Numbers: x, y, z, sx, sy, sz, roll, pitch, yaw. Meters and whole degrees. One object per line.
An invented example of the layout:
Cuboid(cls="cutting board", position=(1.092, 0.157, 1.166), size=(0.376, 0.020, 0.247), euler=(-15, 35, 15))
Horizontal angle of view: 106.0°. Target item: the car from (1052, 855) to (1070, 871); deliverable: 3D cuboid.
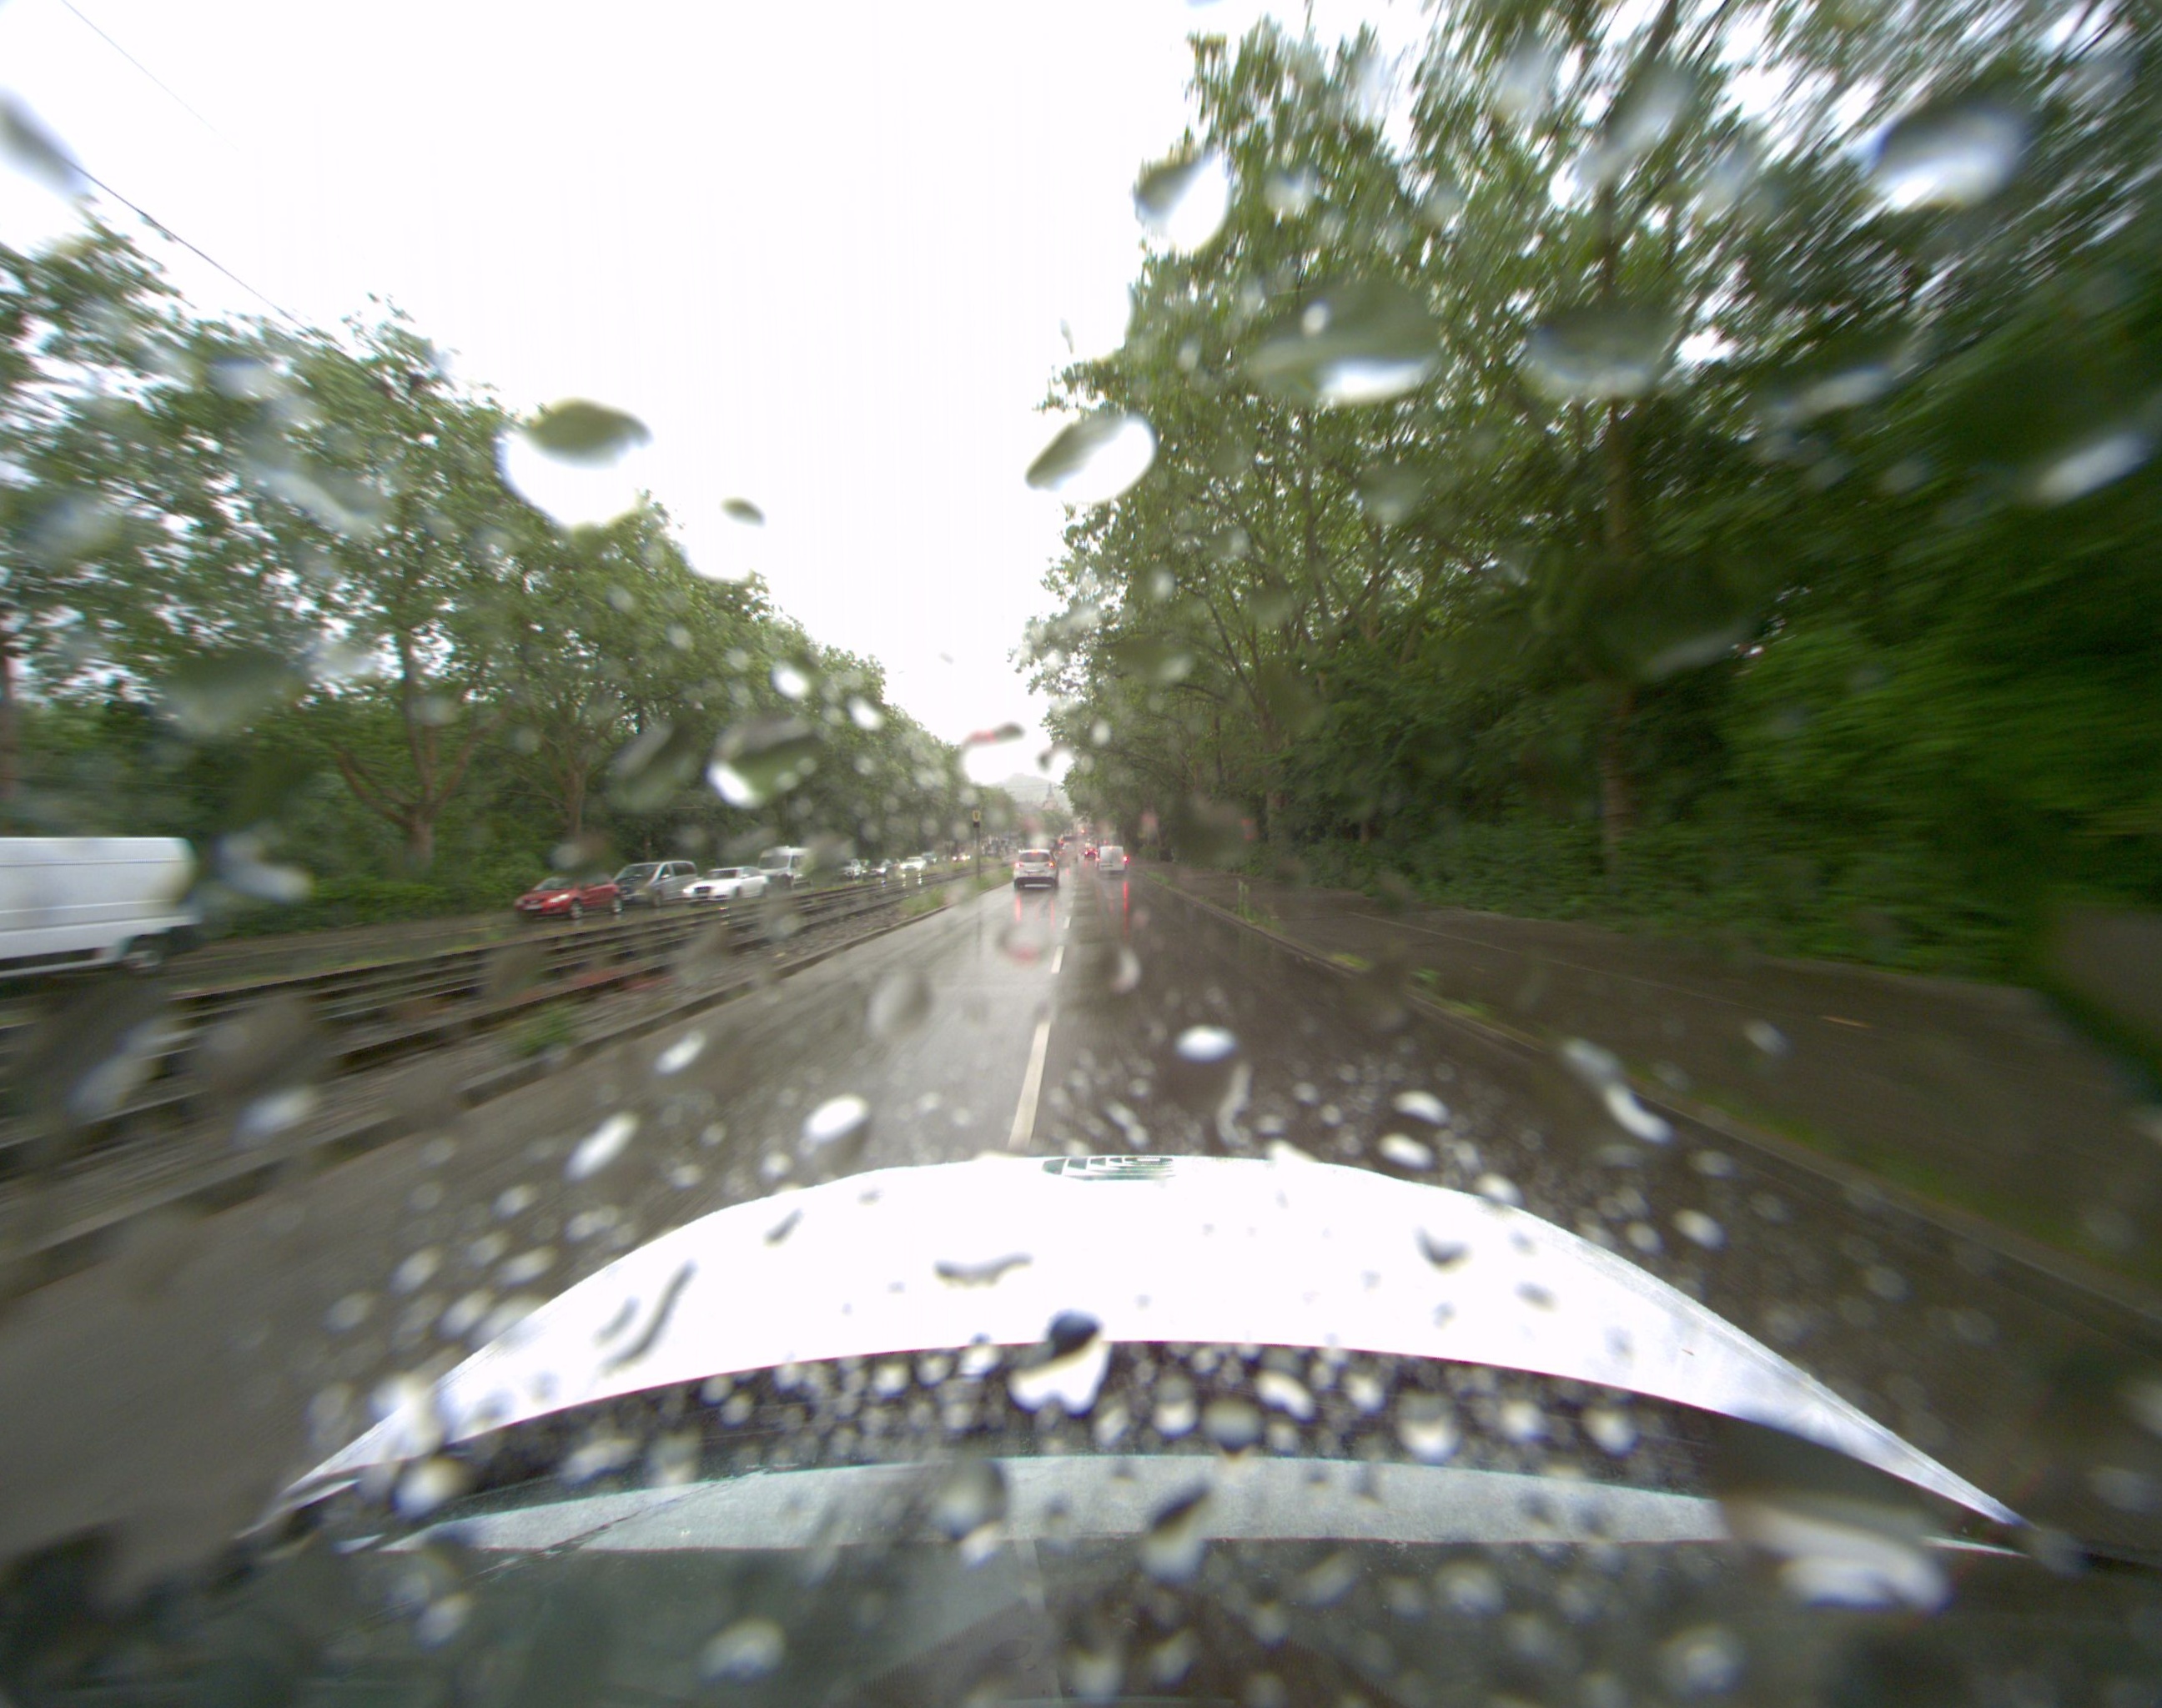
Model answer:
Cuboid(cls="car", position=(-1.903, 0.898, 78.207), size=(1.720, 1.479, 3.804), euler=(-1, -1, -1))

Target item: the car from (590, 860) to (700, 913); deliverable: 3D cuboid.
Cuboid(cls="car", position=(-17.548, 1.229, 33.086), size=(1.951, 1.862, 4.638), euler=(-3, 0, -1))

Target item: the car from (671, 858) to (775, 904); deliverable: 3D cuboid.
Cuboid(cls="car", position=(-14.084, 1.021, 32.405), size=(2.028, 1.552, 4.992), euler=(-3, 0, -3))

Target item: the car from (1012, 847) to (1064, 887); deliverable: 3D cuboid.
Cuboid(cls="car", position=(-1.797, 0.519, 35.359), size=(1.858, 1.623, 4.264), euler=(-1, 0, 2))

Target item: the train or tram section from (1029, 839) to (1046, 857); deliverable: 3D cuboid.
Cuboid(cls="train or tram section", position=(-8.348, -1.157, 157.676), size=(2.953, 3.285, 8.355), euler=(-3, 1, -2))

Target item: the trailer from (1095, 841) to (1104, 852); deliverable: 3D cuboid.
Cuboid(cls="trailer", position=(4.472, -1.801, 195.982), size=(1.988, 2.317, 4.666), euler=(-1, -1, -1))

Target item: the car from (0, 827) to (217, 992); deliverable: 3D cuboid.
Cuboid(cls="car", position=(-17.183, 0.876, 12.016), size=(2.323, 2.446, 6.135), euler=(-3, 0, -2))

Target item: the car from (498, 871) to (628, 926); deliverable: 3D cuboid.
Cuboid(cls="car", position=(-17.378, 1.430, 27.592), size=(1.813, 1.552, 4.022), euler=(-3, 0, -1))

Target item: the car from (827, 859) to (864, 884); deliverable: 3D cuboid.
Cuboid(cls="car", position=(-18.531, 1.351, 64.249), size=(1.746, 1.728, 4.527), euler=(-3, 0, -3))

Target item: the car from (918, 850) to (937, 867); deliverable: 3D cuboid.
Cuboid(cls="car", position=(-21.088, 0.597, 111.882), size=(2.028, 2.092, 4.796), euler=(-3, 0, -5))

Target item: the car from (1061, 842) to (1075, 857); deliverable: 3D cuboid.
Cuboid(cls="car", position=(-2.324, -0.737, 148.185), size=(2.322, 2.557, 6.112), euler=(-1, -1, -1))

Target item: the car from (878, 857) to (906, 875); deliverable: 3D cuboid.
Cuboid(cls="car", position=(-20.080, 1.235, 86.638), size=(2.027, 1.751, 4.689), euler=(-3, 0, -3))

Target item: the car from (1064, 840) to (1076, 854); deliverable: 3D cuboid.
Cuboid(cls="car", position=(-1.810, -1.199, 137.272), size=(1.987, 2.262, 5.287), euler=(-1, -1, -1))

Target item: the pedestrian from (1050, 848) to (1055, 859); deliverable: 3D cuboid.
Cuboid(cls="pedestrian", position=(-4.506, -0.143, 129.983), size=(0.788, 1.714, 0.770), euler=(1, -1, -2))

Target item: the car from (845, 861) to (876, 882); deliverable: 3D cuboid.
Cuboid(cls="car", position=(-19.125, 1.502, 70.777), size=(1.757, 1.648, 3.809), euler=(-3, 0, -3))

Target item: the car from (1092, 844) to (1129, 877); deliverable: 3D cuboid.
Cuboid(cls="car", position=(1.641, 0.376, 46.326), size=(1.953, 1.777, 3.568), euler=(-1, -1, -1))

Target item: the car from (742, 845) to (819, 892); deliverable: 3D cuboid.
Cuboid(cls="car", position=(-18.006, 0.799, 49.295), size=(2.384, 2.540, 6.559), euler=(-3, 0, -3))

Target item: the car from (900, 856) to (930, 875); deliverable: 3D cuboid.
Cuboid(cls="car", position=(-15.566, 1.074, 76.640), size=(1.973, 1.566, 4.764), euler=(-3, 0, -2))

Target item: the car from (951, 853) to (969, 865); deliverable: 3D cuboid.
Cuboid(cls="car", position=(-17.818, 0.714, 119.900), size=(2.027, 1.751, 4.255), euler=(-3, 0, -3))

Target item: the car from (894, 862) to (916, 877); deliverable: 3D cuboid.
Cuboid(cls="car", position=(-20.351, 1.750, 94.431), size=(2.029, 1.657, 4.600), euler=(-1, 0, -6))

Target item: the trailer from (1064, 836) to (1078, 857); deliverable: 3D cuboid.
Cuboid(cls="trailer", position=(-2.027, -1.449, 159.192), size=(2.583, 3.899, 7.631), euler=(-1, 0, -2))

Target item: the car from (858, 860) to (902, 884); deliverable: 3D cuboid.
Cuboid(cls="car", position=(-14.336, 1.256, 58.298), size=(2.027, 1.552, 4.564), euler=(-3, 0, -1))
